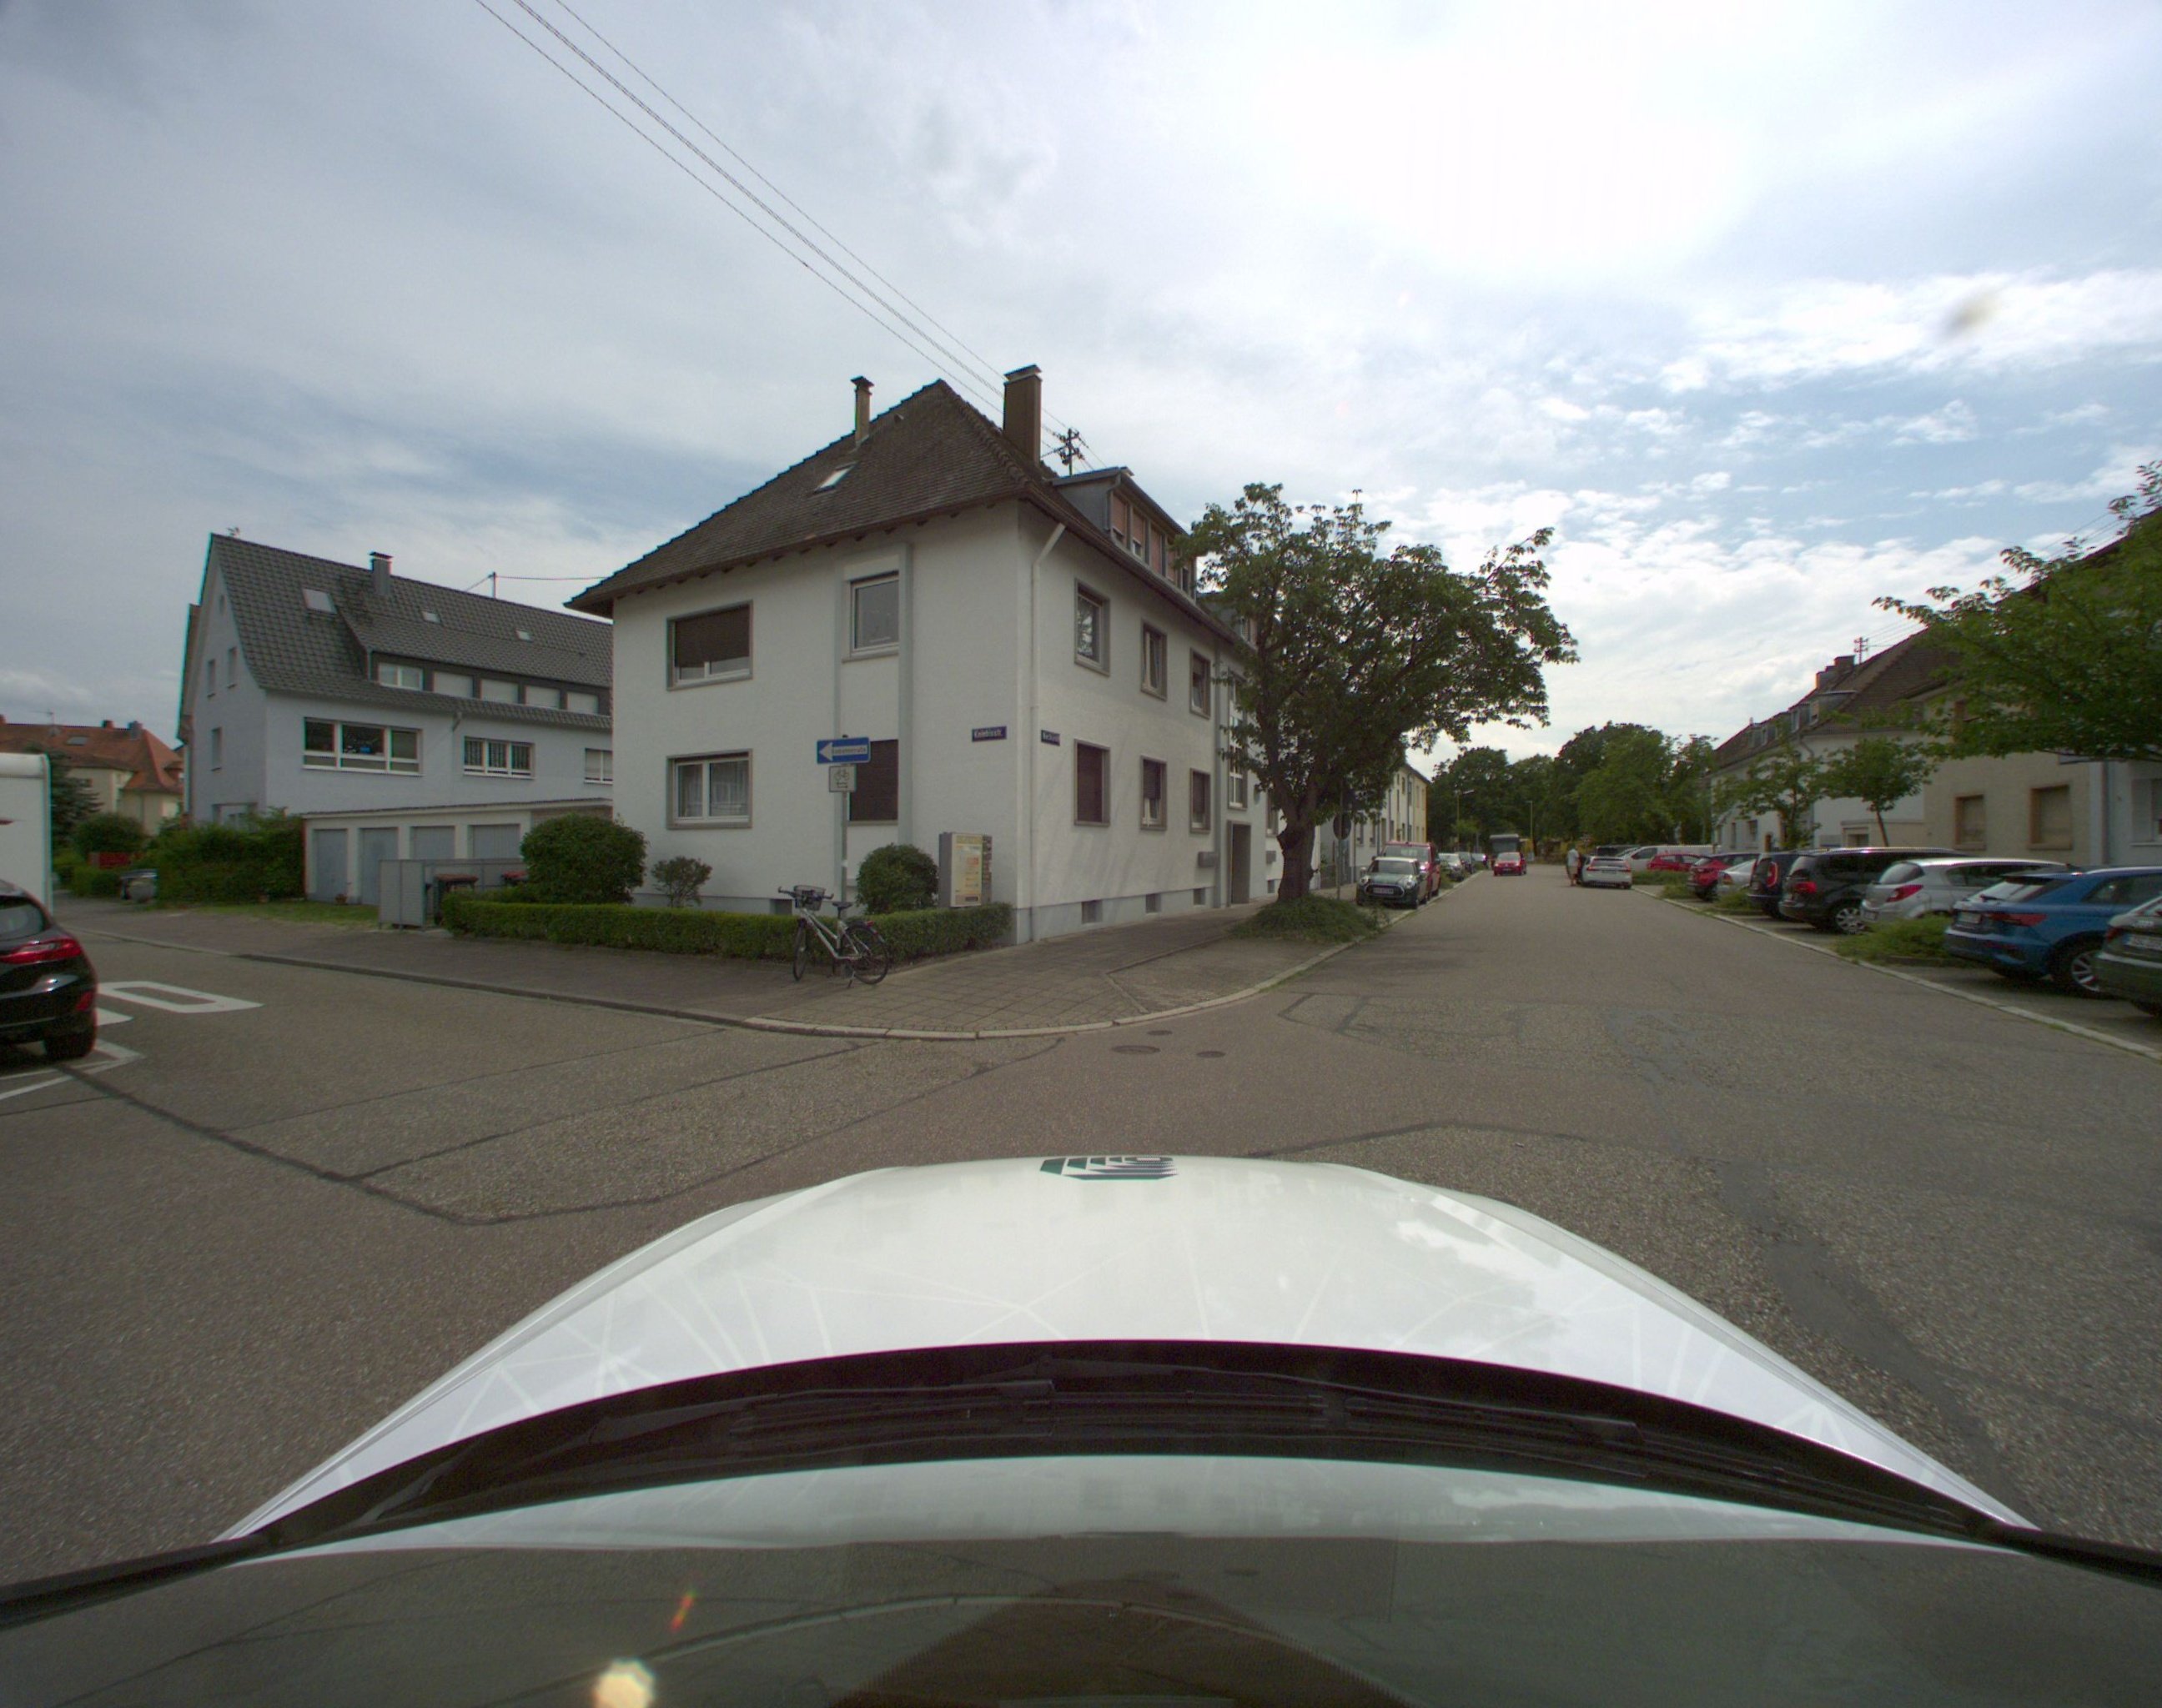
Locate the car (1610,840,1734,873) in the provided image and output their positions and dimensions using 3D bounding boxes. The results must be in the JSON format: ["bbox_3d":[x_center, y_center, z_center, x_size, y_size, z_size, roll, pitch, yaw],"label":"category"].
[{"bbox_3d":[30.491,0.145,42.193,4.928,1.518,1.779,-2,-1,27],"label":"car"}]

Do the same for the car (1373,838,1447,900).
[{"bbox_3d":[11.821,0.483,29.110,1.975,2.013,4.548,0,0,28],"label":"car"}]

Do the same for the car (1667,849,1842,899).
[{"bbox_3d":[20.929,0.641,25.528,3.949,1.439,1.733,-2,-1,28],"label":"car"}]

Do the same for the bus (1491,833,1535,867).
[{"bbox_3d":[38.455,-0.373,72.345,2.975,2.761,8.980,-2,-1,30],"label":"bus"}]

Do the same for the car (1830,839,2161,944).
[{"bbox_3d":[15.115,0.589,13.267,3.949,1.518,1.733,-2,-1,28],"label":"car"}]

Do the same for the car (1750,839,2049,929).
[{"bbox_3d":[15.594,0.575,15.821,3.712,1.564,1.784,-2,-1,29],"label":"car"}]

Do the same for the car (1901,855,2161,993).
[{"bbox_3d":[11.843,0.734,9.074,3.484,1.412,1.568,-2,-1,29],"label":"car"}]

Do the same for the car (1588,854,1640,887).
[{"bbox_3d":[23.728,0.698,36.342,1.671,1.354,3.850,-2,-1,30],"label":"car"}]

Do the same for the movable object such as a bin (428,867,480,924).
[{"bbox_3d":[-12.962,0.851,16.829,0.745,1.137,0.585,-2,-1,29],"label":"movable object such as a bin"}]

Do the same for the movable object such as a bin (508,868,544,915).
[{"bbox_3d":[-11.940,0.803,17.531,0.500,0.973,0.458,-2,-1,30],"label":"movable object such as a bin"}]

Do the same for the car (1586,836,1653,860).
[{"bbox_3d":[34.797,-0.349,52.707,3.496,1.425,1.608,-2,-1,29],"label":"car"}]

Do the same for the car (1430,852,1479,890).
[{"bbox_3d":[15.719,0.692,34.213,1.636,1.461,3.574,-2,-1,28],"label":"car"}]

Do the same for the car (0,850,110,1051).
[{"bbox_3d":[-9.413,0.740,6.477,3.719,1.422,1.674,-2,-1,32],"label":"car"}]

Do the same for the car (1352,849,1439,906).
[{"bbox_3d":[9.521,0.661,24.515,1.746,1.554,3.754,-2,-1,32],"label":"car"}]

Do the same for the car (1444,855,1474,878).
[{"bbox_3d":[22.901,0.752,49.329,1.524,1.301,3.743,-2,-1,26],"label":"car"}]

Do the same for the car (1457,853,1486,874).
[{"bbox_3d":[27.247,0.678,56.795,1.636,1.377,3.744,-2,-1,28],"label":"car"}]

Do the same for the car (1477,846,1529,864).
[{"bbox_3d":[40.426,0.114,78.102,1.879,1.542,3.952,-1,-1,-41],"label":"car"}]

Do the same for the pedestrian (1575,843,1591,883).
[{"bbox_3d":[21.927,0.399,35.557,0.517,1.704,0.447,-2,-1,32],"label":"pedestrian"}]

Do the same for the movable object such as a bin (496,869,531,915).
[{"bbox_3d":[-12.418,0.824,17.821,0.500,0.973,0.458,-2,-1,30],"label":"movable object such as a bin"}]

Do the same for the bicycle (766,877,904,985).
[{"bbox_3d":[-2.873,0.875,9.467,1.619,1.179,0.437,-2,-1,24],"label":"bicycle"}]

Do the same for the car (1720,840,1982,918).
[{"bbox_3d":[17.249,0.568,18.551,3.949,1.618,1.879,-2,-1,29],"label":"car"}]

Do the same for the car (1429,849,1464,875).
[{"bbox_3d":[20.225,0.435,44.987,1.636,1.377,3.743,-2,-1,26],"label":"car"}]

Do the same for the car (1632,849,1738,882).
[{"bbox_3d":[29.441,0.567,39.849,3.949,1.518,1.733,-2,-1,28],"label":"car"}]

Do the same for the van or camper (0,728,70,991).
[{"bbox_3d":[-14.174,0.147,9.364,6.082,2.725,2.427,-2,-1,31],"label":"van or camper"}]

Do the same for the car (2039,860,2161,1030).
[{"bbox_3d":[10.994,0.718,6.635,3.712,1.365,1.784,-2,-1,29],"label":"car"}]

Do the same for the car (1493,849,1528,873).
[{"bbox_3d":[27.554,0.428,52.258,1.846,1.486,4.024,-2,-1,28],"label":"car"}]

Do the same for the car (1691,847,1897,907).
[{"bbox_3d":[19.498,0.649,22.522,3.949,1.518,1.733,-2,-1,28],"label":"car"}]

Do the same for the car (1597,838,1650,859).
[{"bbox_3d":[45.012,-0.447,67.635,3.496,1.602,1.784,-2,-1,29],"label":"car"}]
